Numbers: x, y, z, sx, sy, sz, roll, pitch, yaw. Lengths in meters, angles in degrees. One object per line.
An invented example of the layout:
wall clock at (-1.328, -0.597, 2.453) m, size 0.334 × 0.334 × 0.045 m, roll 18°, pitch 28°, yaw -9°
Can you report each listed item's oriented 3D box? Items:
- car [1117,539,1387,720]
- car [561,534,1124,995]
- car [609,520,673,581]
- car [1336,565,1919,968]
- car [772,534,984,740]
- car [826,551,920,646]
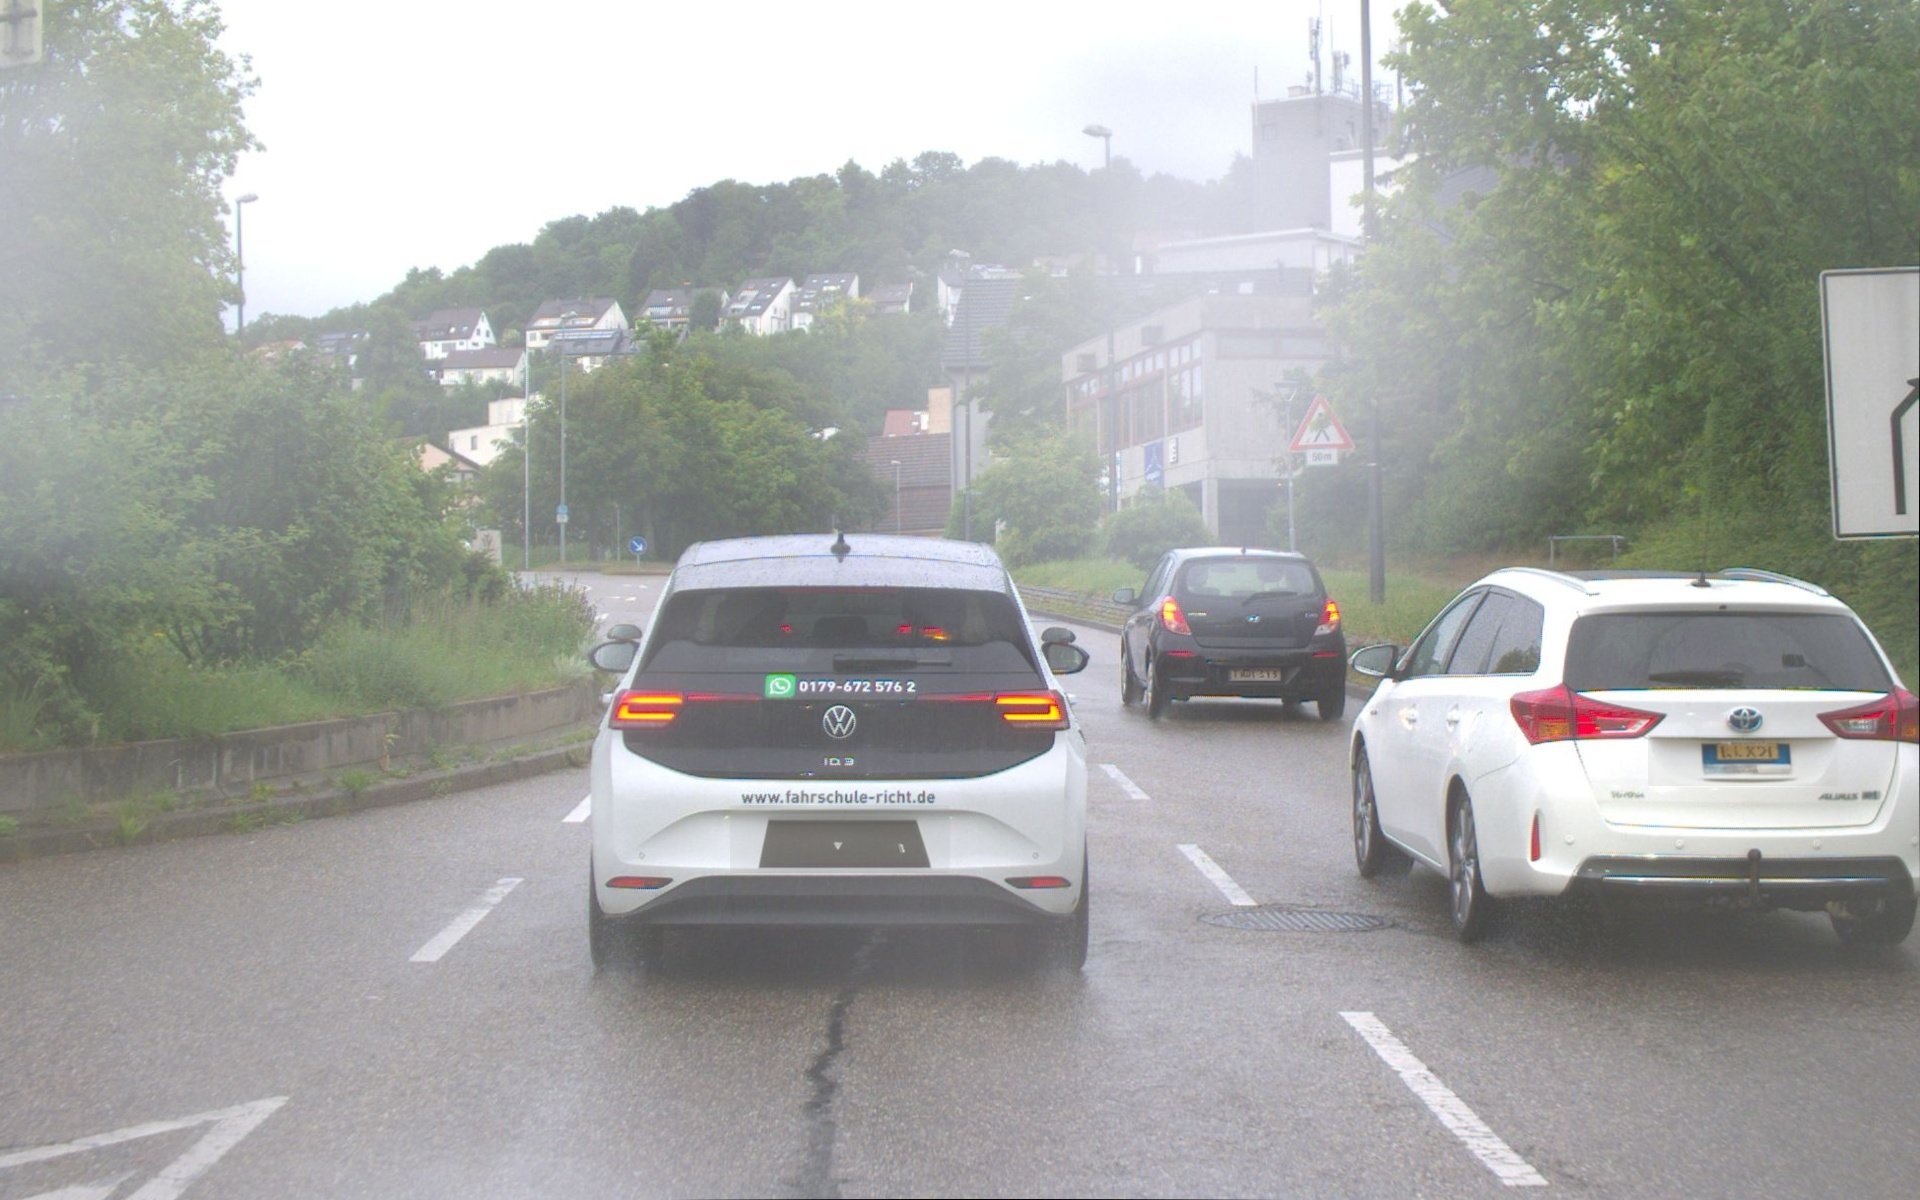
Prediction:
car at (2.530, 0.245, 30.703) m, size 1.993 × 1.448 × 3.771 m, roll -2°, pitch 0°, yaw -1°
car at (-0.410, 0.536, 13.348) m, size 1.828 × 1.495 × 4.168 m, roll 1°, pitch 0°, yaw -1°
car at (-11.062, -1.688, 119.476) m, size 1.993 × 2.007 × 4.000 m, roll 1°, pitch 0°, yaw -3°
car at (2.750, 0.584, 14.241) m, size 1.848 × 1.405 × 4.302 m, roll 1°, pitch 0°, yaw -1°
car at (-0.717, 0.239, 27.577) m, size 1.567 × 1.525 × 4.001 m, roll 0°, pitch 1°, yaw -3°
car at (-1.904, -0.036, 76.438) m, size 1.993 × 2.007 × 4.000 m, roll 1°, pitch 0°, yaw -1°
